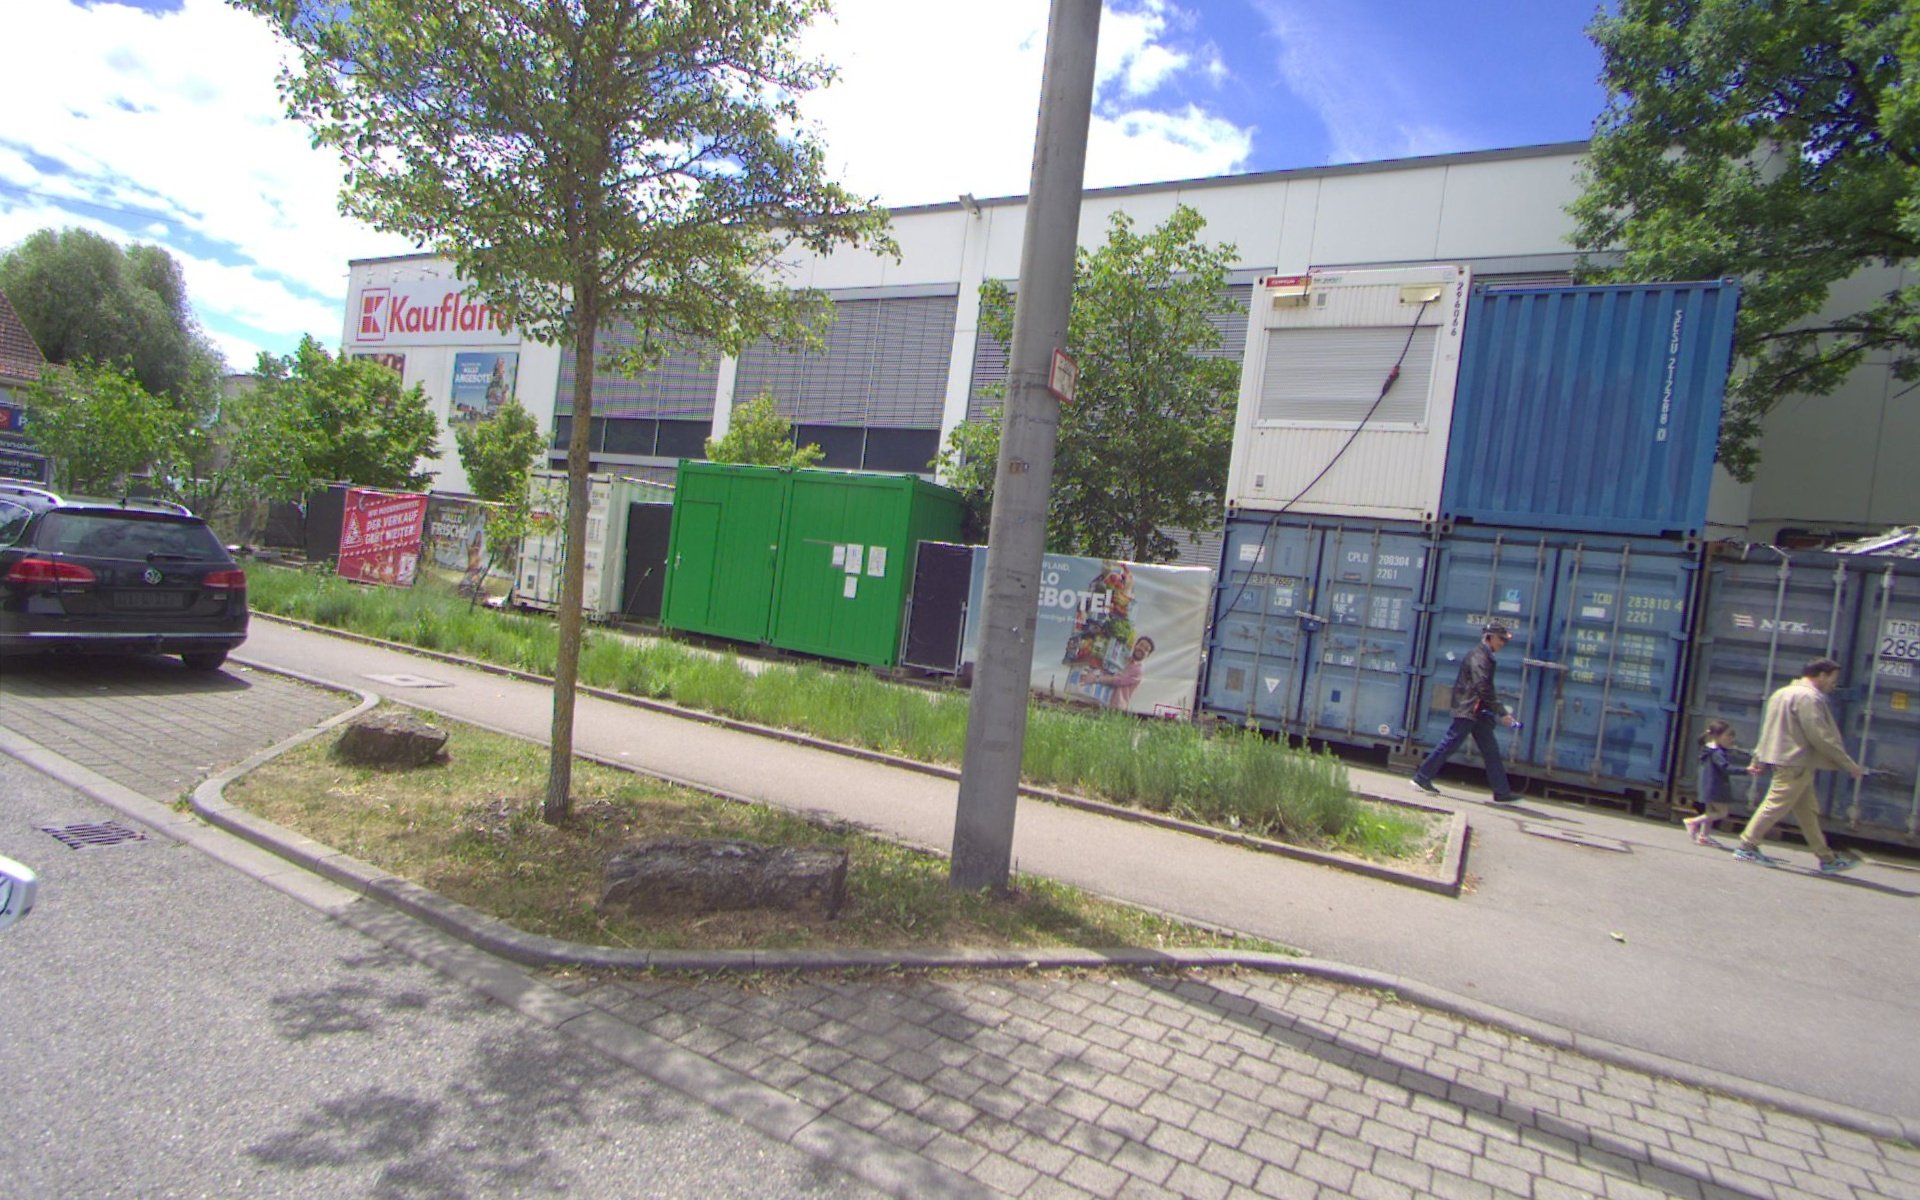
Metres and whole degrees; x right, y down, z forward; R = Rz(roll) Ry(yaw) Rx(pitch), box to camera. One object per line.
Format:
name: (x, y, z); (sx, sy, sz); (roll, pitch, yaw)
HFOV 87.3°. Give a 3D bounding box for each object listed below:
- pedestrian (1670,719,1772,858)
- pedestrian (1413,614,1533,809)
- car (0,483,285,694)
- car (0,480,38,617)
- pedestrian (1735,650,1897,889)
pedestrian: (6.591, 1.614, 8.732); (0.557, 1.071, 0.412); (7, 1, 30)
pedestrian: (4.959, 1.048, 9.718); (0.830, 1.718, 0.652); (7, 1, 30)
car: (-8.435, -0.282, 9.264); (4.853, 1.497, 1.765); (6, 3, 31)
car: (-12.603, -0.789, 11.876); (3.935, 1.512, 1.568); (7, 1, 33)
pedestrian: (6.775, 1.301, 8.004); (0.712, 1.717, 0.651); (7, 1, 30)
